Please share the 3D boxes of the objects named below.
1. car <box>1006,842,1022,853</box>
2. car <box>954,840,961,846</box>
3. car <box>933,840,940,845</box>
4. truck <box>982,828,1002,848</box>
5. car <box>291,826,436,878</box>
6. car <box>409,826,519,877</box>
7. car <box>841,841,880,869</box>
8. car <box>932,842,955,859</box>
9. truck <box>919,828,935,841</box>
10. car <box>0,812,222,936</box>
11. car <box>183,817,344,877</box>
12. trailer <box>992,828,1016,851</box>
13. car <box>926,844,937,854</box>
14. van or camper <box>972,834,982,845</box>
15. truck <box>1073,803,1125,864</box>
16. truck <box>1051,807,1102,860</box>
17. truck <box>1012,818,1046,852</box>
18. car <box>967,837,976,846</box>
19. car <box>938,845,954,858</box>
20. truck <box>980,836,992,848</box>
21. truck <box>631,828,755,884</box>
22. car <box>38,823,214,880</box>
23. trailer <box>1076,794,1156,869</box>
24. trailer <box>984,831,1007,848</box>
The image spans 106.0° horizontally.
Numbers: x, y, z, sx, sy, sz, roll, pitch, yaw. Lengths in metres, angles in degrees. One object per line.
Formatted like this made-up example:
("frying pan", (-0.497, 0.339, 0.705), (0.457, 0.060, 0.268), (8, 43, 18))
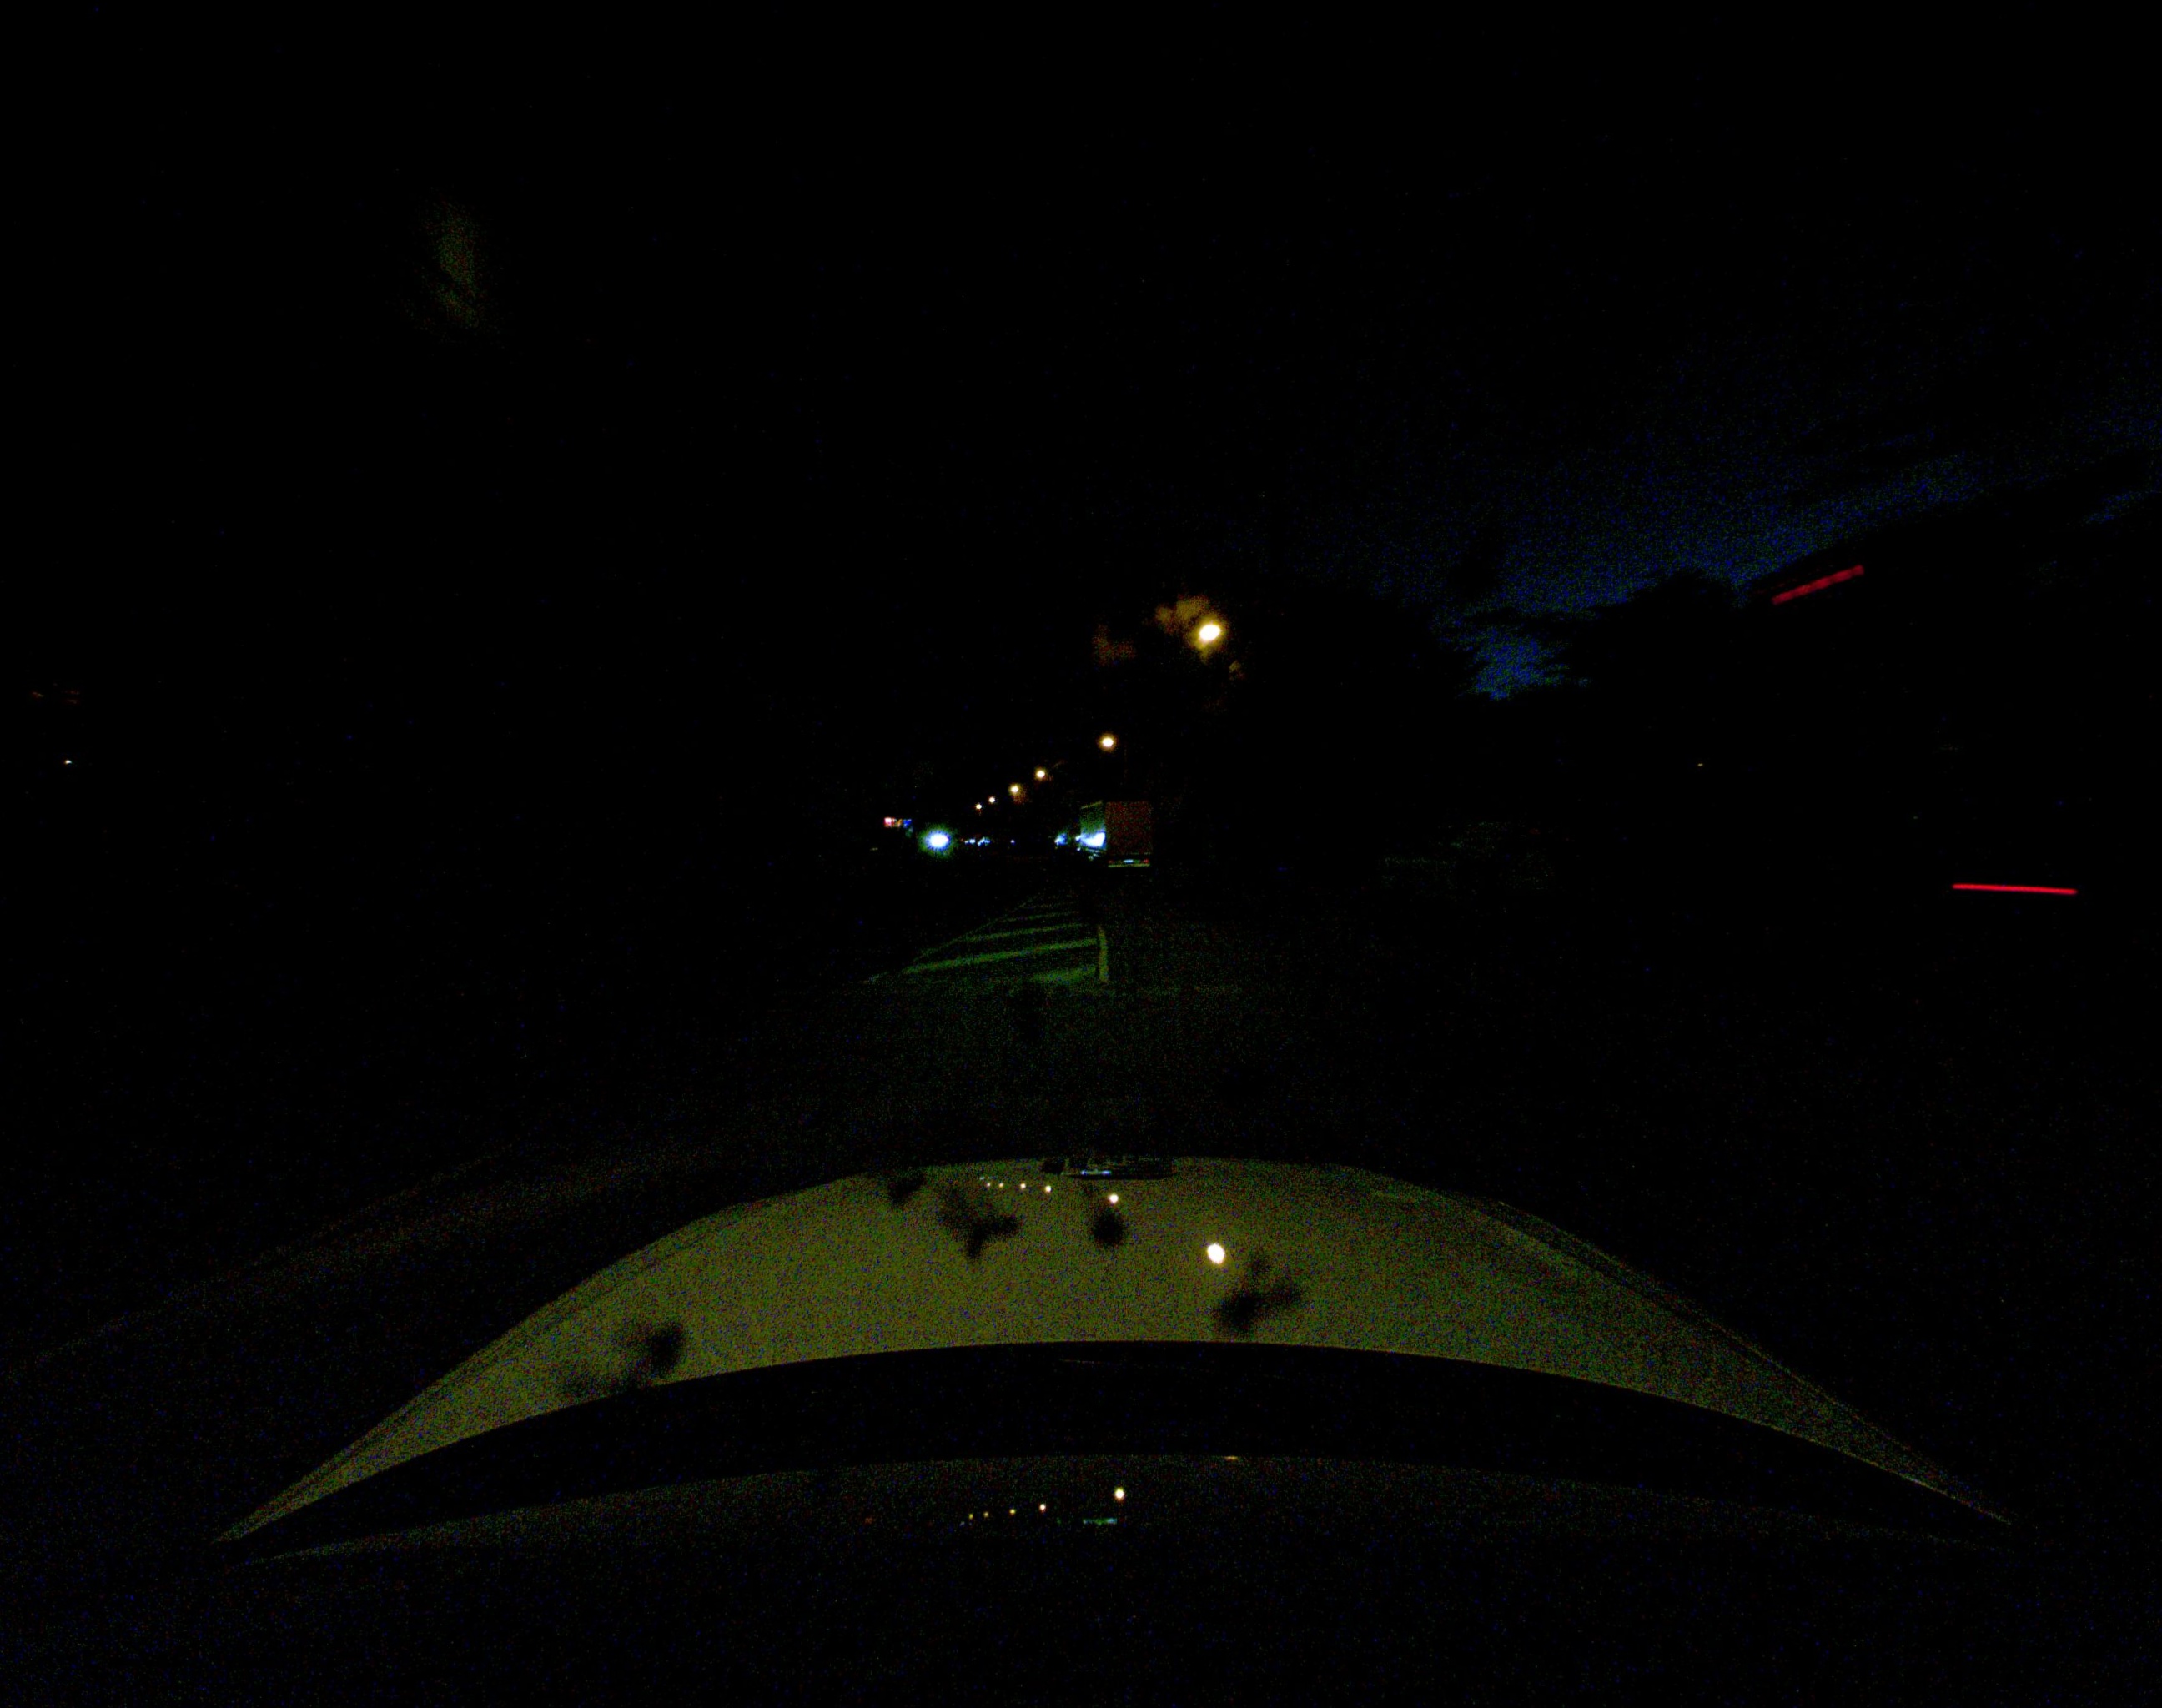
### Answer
("car", (-9.601, -0.945, 116.200), (1.853, 1.519, 3.805), (-2, 1, -10))
("car", (-38.390, -3.477, 253.795), (1.994, 1.683, 3.985), (0, 1, -11))
("car", (-44.074, -3.440, 248.834), (1.994, 1.398, 3.985), (0, 1, -11))
("truck", (-16.677, -2.932, 151.803), (3.153, 3.463, 6.648), (-2, 1, -11))
("car", (-29.689, -0.106, 33.977), (2.253, 2.004, 5.385), (0, 1, -13))
("car", (-26.100, -0.114, 34.673), (1.996, 2.013, 4.667), (0, 0, -13))
("car", (-12.659, 0.026, 46.545), (1.834, 1.493, 4.498), (0, 1, -20))
("car", (-13.739, -0.334, 81.240), (1.995, 1.636, 4.754), (0, 1, -12))
("truck", (-43.819, -5.424, 231.422), (3.899, 3.621, 8.215), (0, 1, -16))
("car", (-16.414, 0.284, 12.524), (4.118, 1.772, 1.998), (0, 0, -4))
("car", (-32.953, -0.279, 33.106), (2.023, 2.235, 5.385), (0, 0, -13))
("trailer", (-12.282, -2.292, 128.835), (2.690, 3.464, 7.774), (0, 0, -13))
("car", (-28.628, -1.031, 156.249), (1.994, 1.793, 3.985), (0, 1, -11))
("van or camper", (-23.590, -3.249, 184.863), (1.994, 2.581, 4.898), (0, 1, -10))
("truck", (1.182, -1.403, 57.369), (2.827, 3.983, 6.037), (-2, 1, -6))
("truck", (-0.558, -1.664, 67.991), (2.828, 3.983, 10.314), (-2, 1, -8))
("truck", (-6.529, -2.317, 101.035), (3.517, 3.983, 10.317), (-2, 1, -7))
("car", (-27.594, -3.172, 204.791), (1.994, 2.145, 3.985), (0, 1, -11))
("car", (-14.411, -0.295, 86.853), (1.603, 1.354, 3.985), (0, 1, -11))
("truck", (-19.097, -2.412, 163.687), (1.994, 2.407, 5.273), (0, 1, -11))
("truck", (-14.217, 0.044, 30.236), (1.987, 1.900, 5.317), (0, 0, 1))
("car", (-37.335, -0.123, 32.078), (1.882, 2.013, 4.772), (-2, 1, -11))
("trailer", (1.878, -1.319, 50.881), (2.806, 3.983, 13.944), (-2, 1, -6))
("trailer", (-15.323, -2.500, 144.821), (3.186, 2.748, 10.675), (-2, 1, -11))
